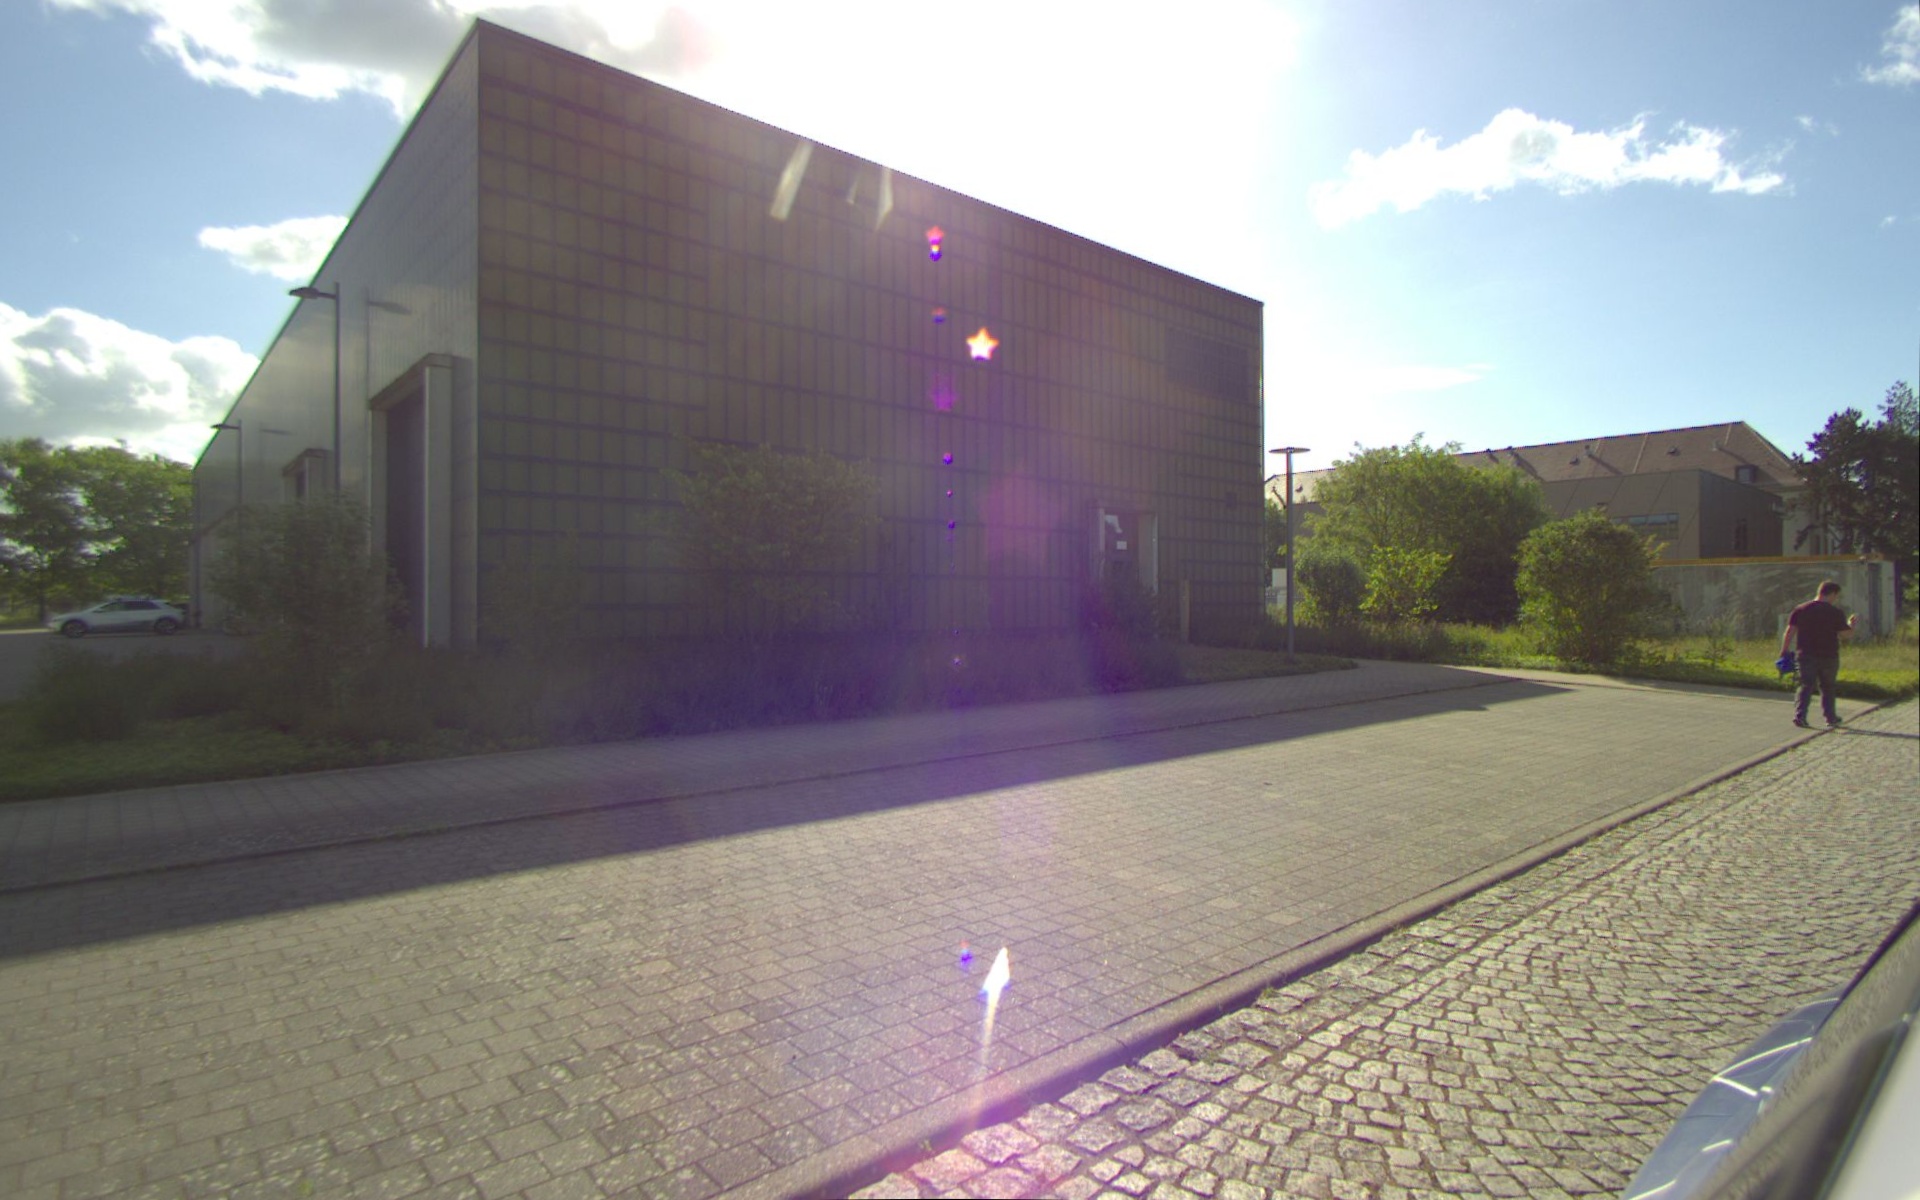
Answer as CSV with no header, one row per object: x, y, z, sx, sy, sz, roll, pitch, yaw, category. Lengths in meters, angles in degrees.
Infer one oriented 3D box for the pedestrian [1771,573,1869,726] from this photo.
10.702,0.578,12.592,1.050,1.803,0.796,0,0,-43,pedestrian

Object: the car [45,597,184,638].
-36.064,0.712,43.257,4.501,1.684,1.996,0,0,-42,car
